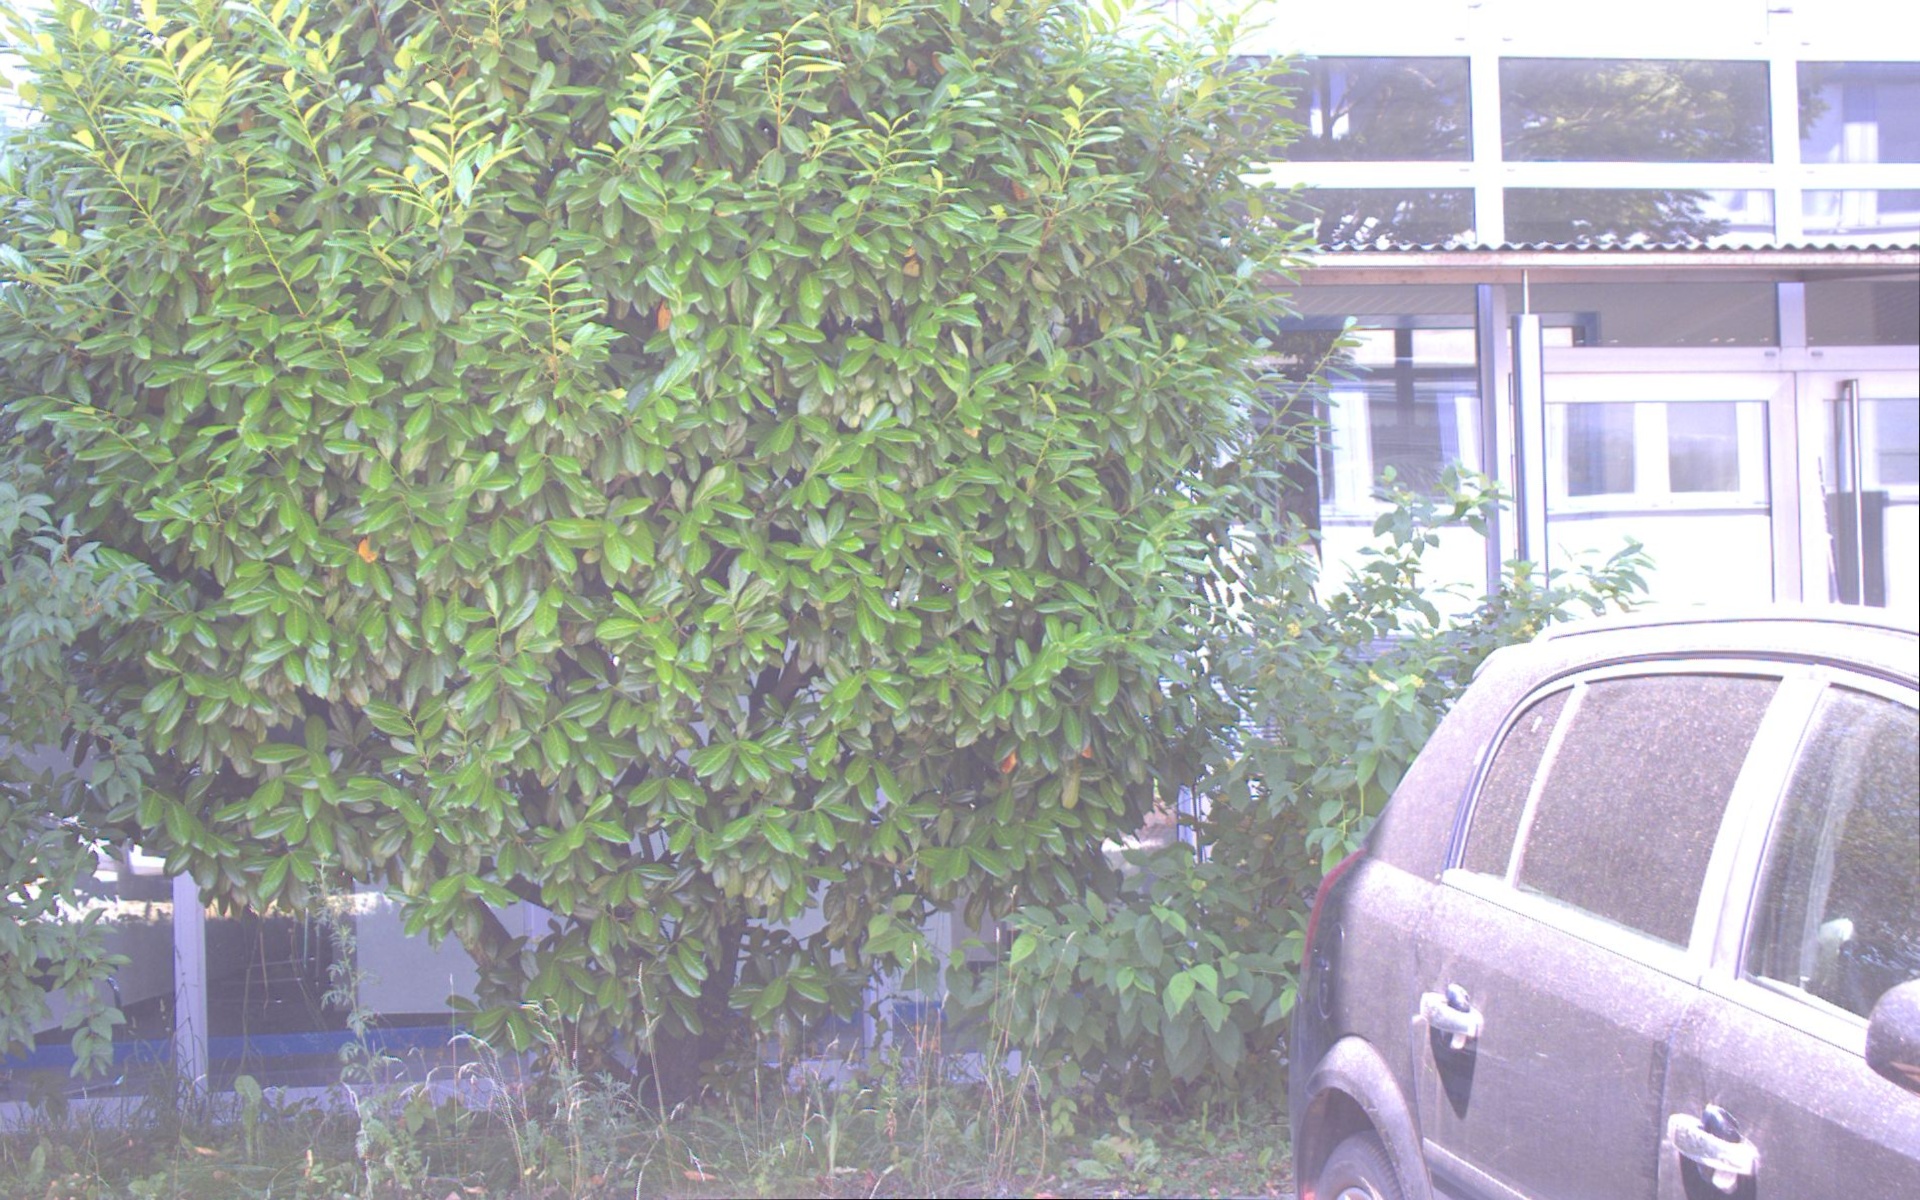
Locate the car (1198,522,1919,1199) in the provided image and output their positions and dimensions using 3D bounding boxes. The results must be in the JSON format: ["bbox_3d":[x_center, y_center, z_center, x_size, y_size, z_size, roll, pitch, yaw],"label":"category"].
[{"bbox_3d":[1.701,0.699,4.093,1.757,1.544,4.566,0,0,-10],"label":"car"}]
